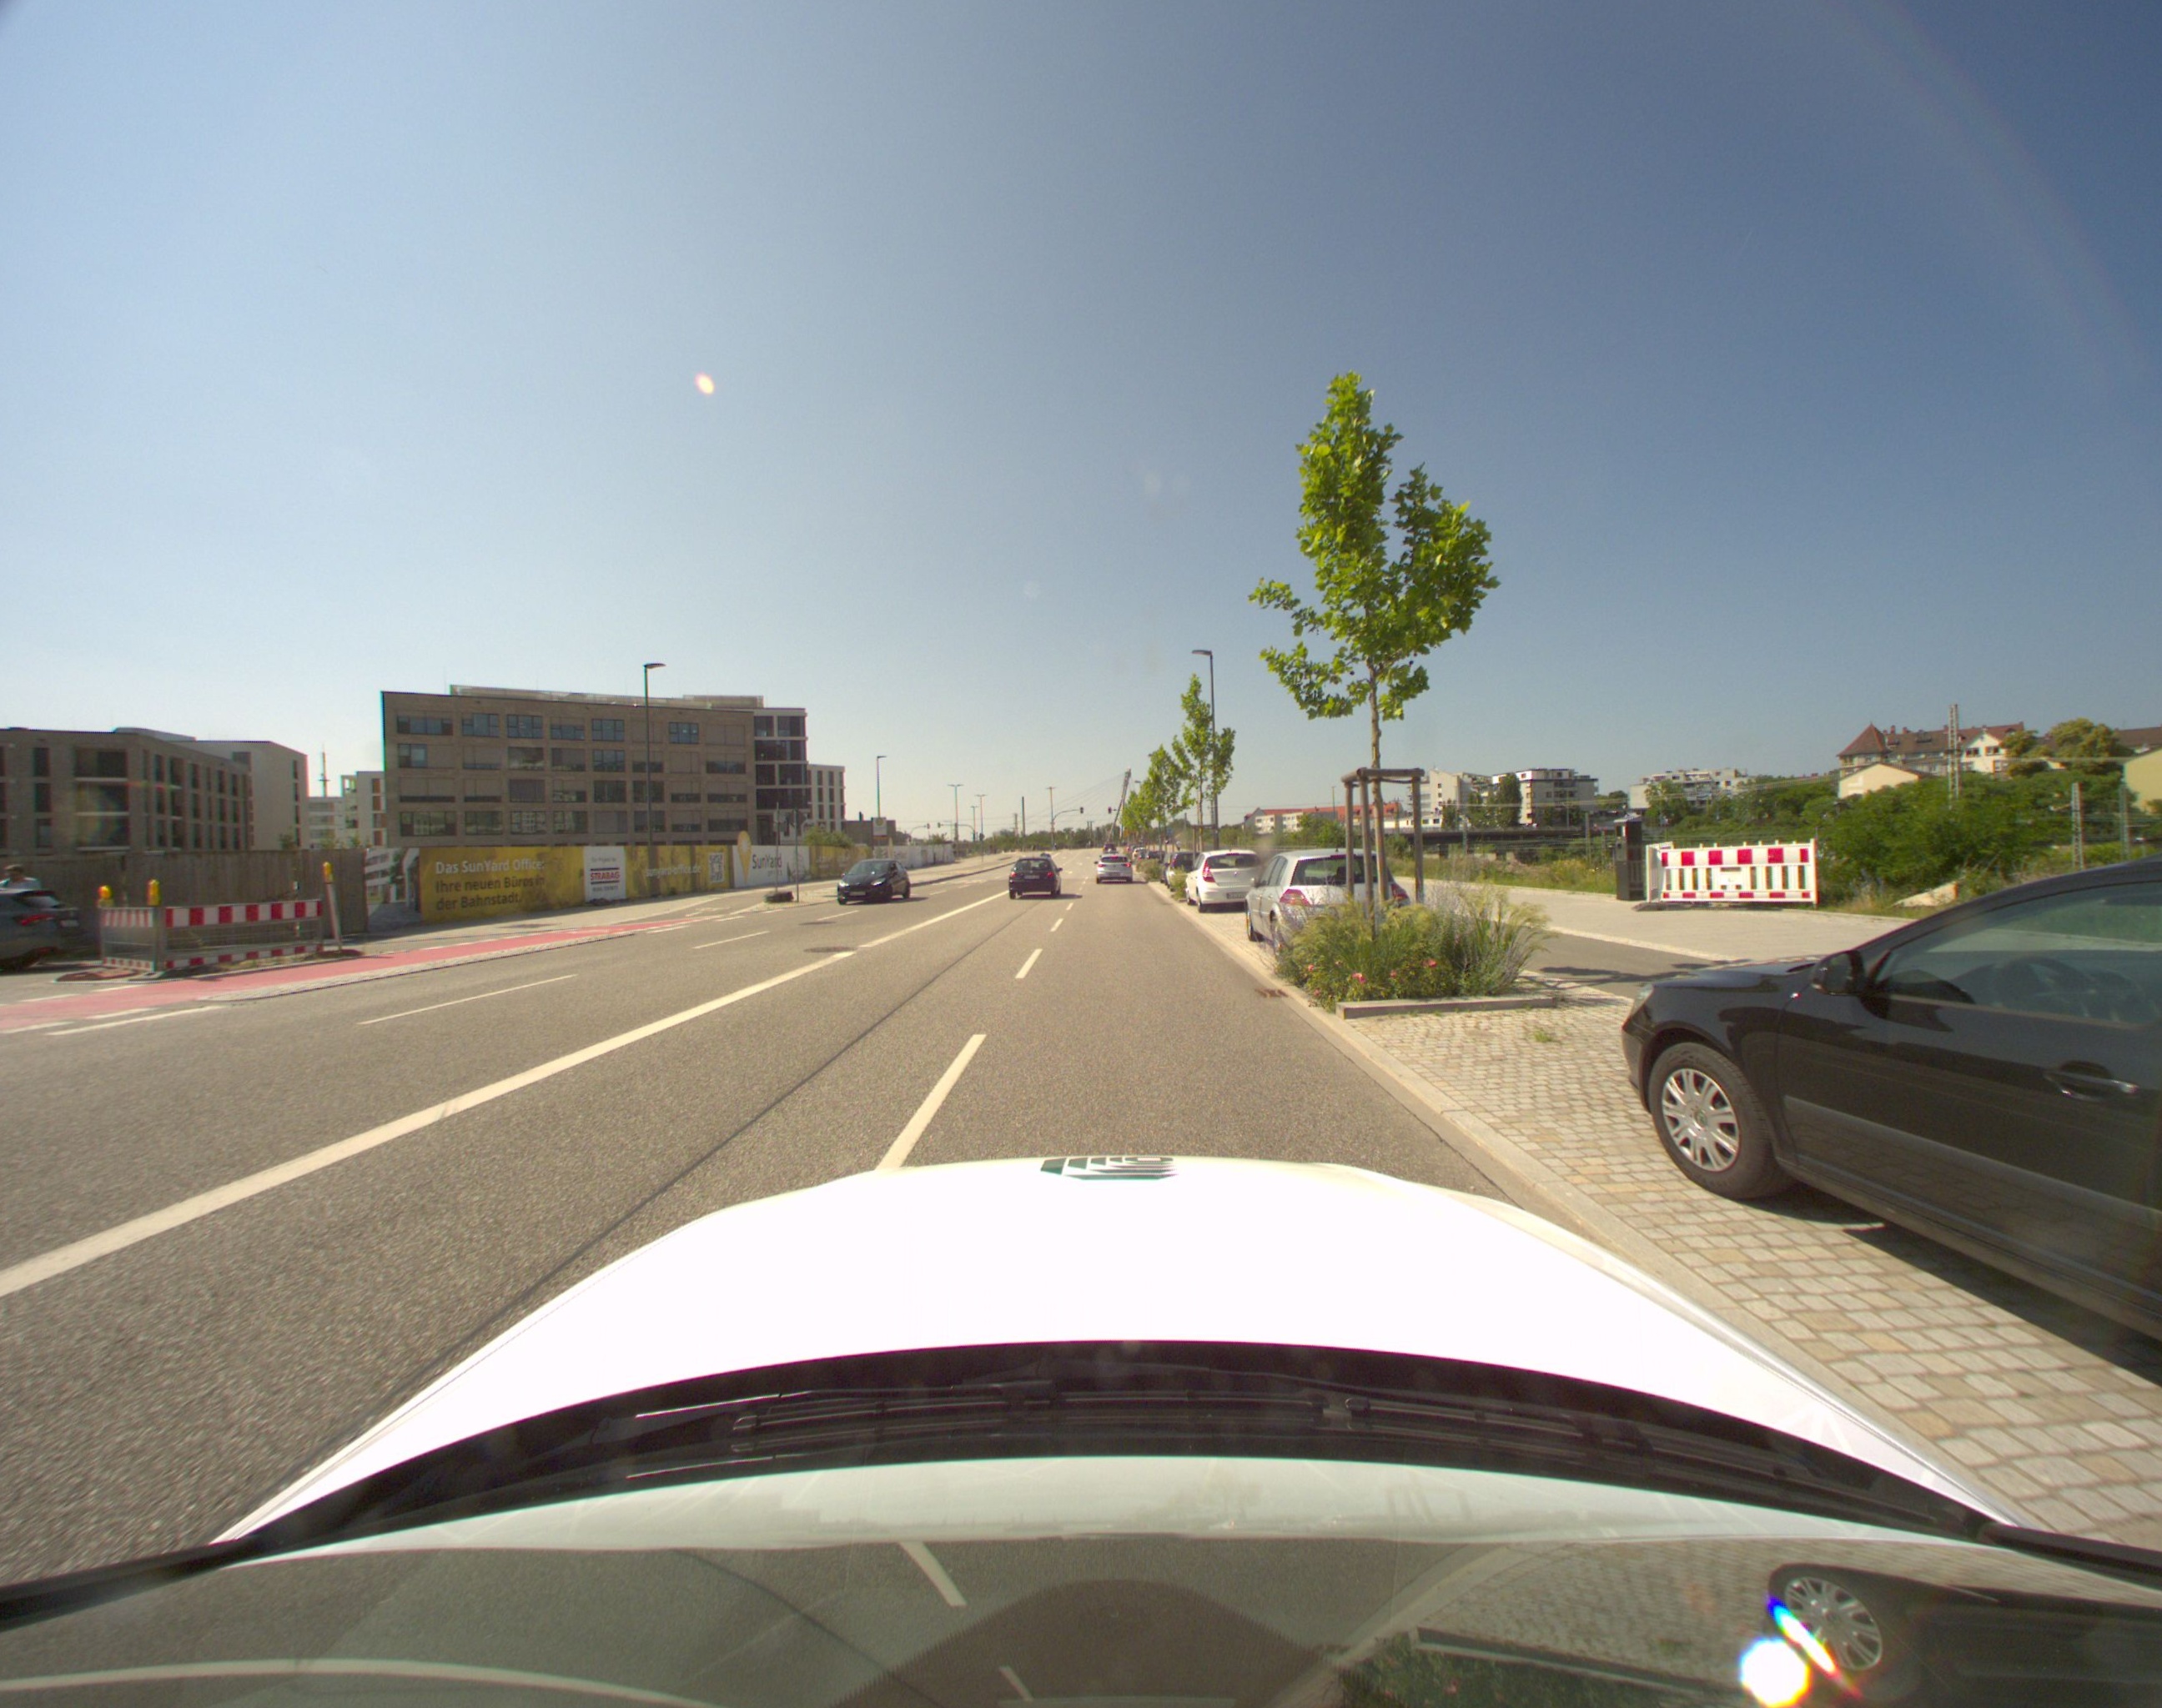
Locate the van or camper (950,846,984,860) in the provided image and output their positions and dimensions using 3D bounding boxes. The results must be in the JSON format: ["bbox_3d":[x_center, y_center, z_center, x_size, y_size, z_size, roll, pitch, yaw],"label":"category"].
[{"bbox_3d":[-16.896,-0.110,120.677,1.975,1.897,4.746,-2,0,45],"label":"van or camper"}]

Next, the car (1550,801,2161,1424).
[{"bbox_3d":[3.434,0.575,2.093,1.784,1.477,4.369,-4,-1,-2],"label":"car"}]

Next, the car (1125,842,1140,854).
[{"bbox_3d":[6.568,-0.773,103.442,1.771,1.503,4.003,-3,1,2],"label":"car"}]

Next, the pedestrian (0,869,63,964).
[{"bbox_3d":[-19.325,1.122,14.901,0.678,1.684,0.761,-1,-1,30],"label":"pedestrian"}]

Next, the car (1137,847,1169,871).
[{"bbox_3d":[4.709,0.338,53.699,1.699,1.462,3.953,-2,0,0],"label":"car"}]

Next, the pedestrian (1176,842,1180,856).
[{"bbox_3d":[11.480,-0.580,96.367,0.531,1.575,0.524,0,-1,2],"label":"pedestrian"}]

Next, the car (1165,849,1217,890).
[{"bbox_3d":[4.215,0.552,31.784,1.696,1.462,4.089,-2,0,4],"label":"car"}]

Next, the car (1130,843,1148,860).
[{"bbox_3d":[6.070,-0.280,85.425,1.814,1.616,3.615,-3,1,3],"label":"car"}]

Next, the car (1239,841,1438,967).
[{"bbox_3d":[3.549,0.600,12.039,1.899,1.479,4.163,-2,0,5],"label":"car"}]

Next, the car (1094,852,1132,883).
[{"bbox_3d":[1.614,0.632,40.713,1.771,1.442,4.003,-1,0,3],"label":"car"}]

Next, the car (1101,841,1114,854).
[{"bbox_3d":[3.538,-0.918,108.315,1.771,1.568,4.003,-2,1,2],"label":"car"}]

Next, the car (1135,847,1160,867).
[{"bbox_3d":[5.132,0.264,63.180,1.697,1.401,4.273,-3,0,3],"label":"car"}]

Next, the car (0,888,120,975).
[{"bbox_3d":[-19.175,1.361,13.169,4.264,1.318,1.979,-3,1,-34],"label":"car"}]

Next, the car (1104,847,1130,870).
[{"bbox_3d":[2.613,0.330,59.162,1.771,1.568,4.002,-2,0,2],"label":"car"}]

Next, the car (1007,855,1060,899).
[{"bbox_3d":[-1.627,0.768,29.001,1.614,1.416,3.726,-2,0,0],"label":"car"}]

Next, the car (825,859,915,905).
[{"bbox_3d":[-7.065,0.892,27.752,1.697,1.352,4.458,-2,0,2],"label":"car"}]

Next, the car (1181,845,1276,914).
[{"bbox_3d":[3.642,0.601,20.745,1.739,1.509,4.003,-3,0,2],"label":"car"}]

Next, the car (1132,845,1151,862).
[{"bbox_3d":[5.843,-0.074,78.766,1.689,1.475,4.209,-3,1,3],"label":"car"}]
